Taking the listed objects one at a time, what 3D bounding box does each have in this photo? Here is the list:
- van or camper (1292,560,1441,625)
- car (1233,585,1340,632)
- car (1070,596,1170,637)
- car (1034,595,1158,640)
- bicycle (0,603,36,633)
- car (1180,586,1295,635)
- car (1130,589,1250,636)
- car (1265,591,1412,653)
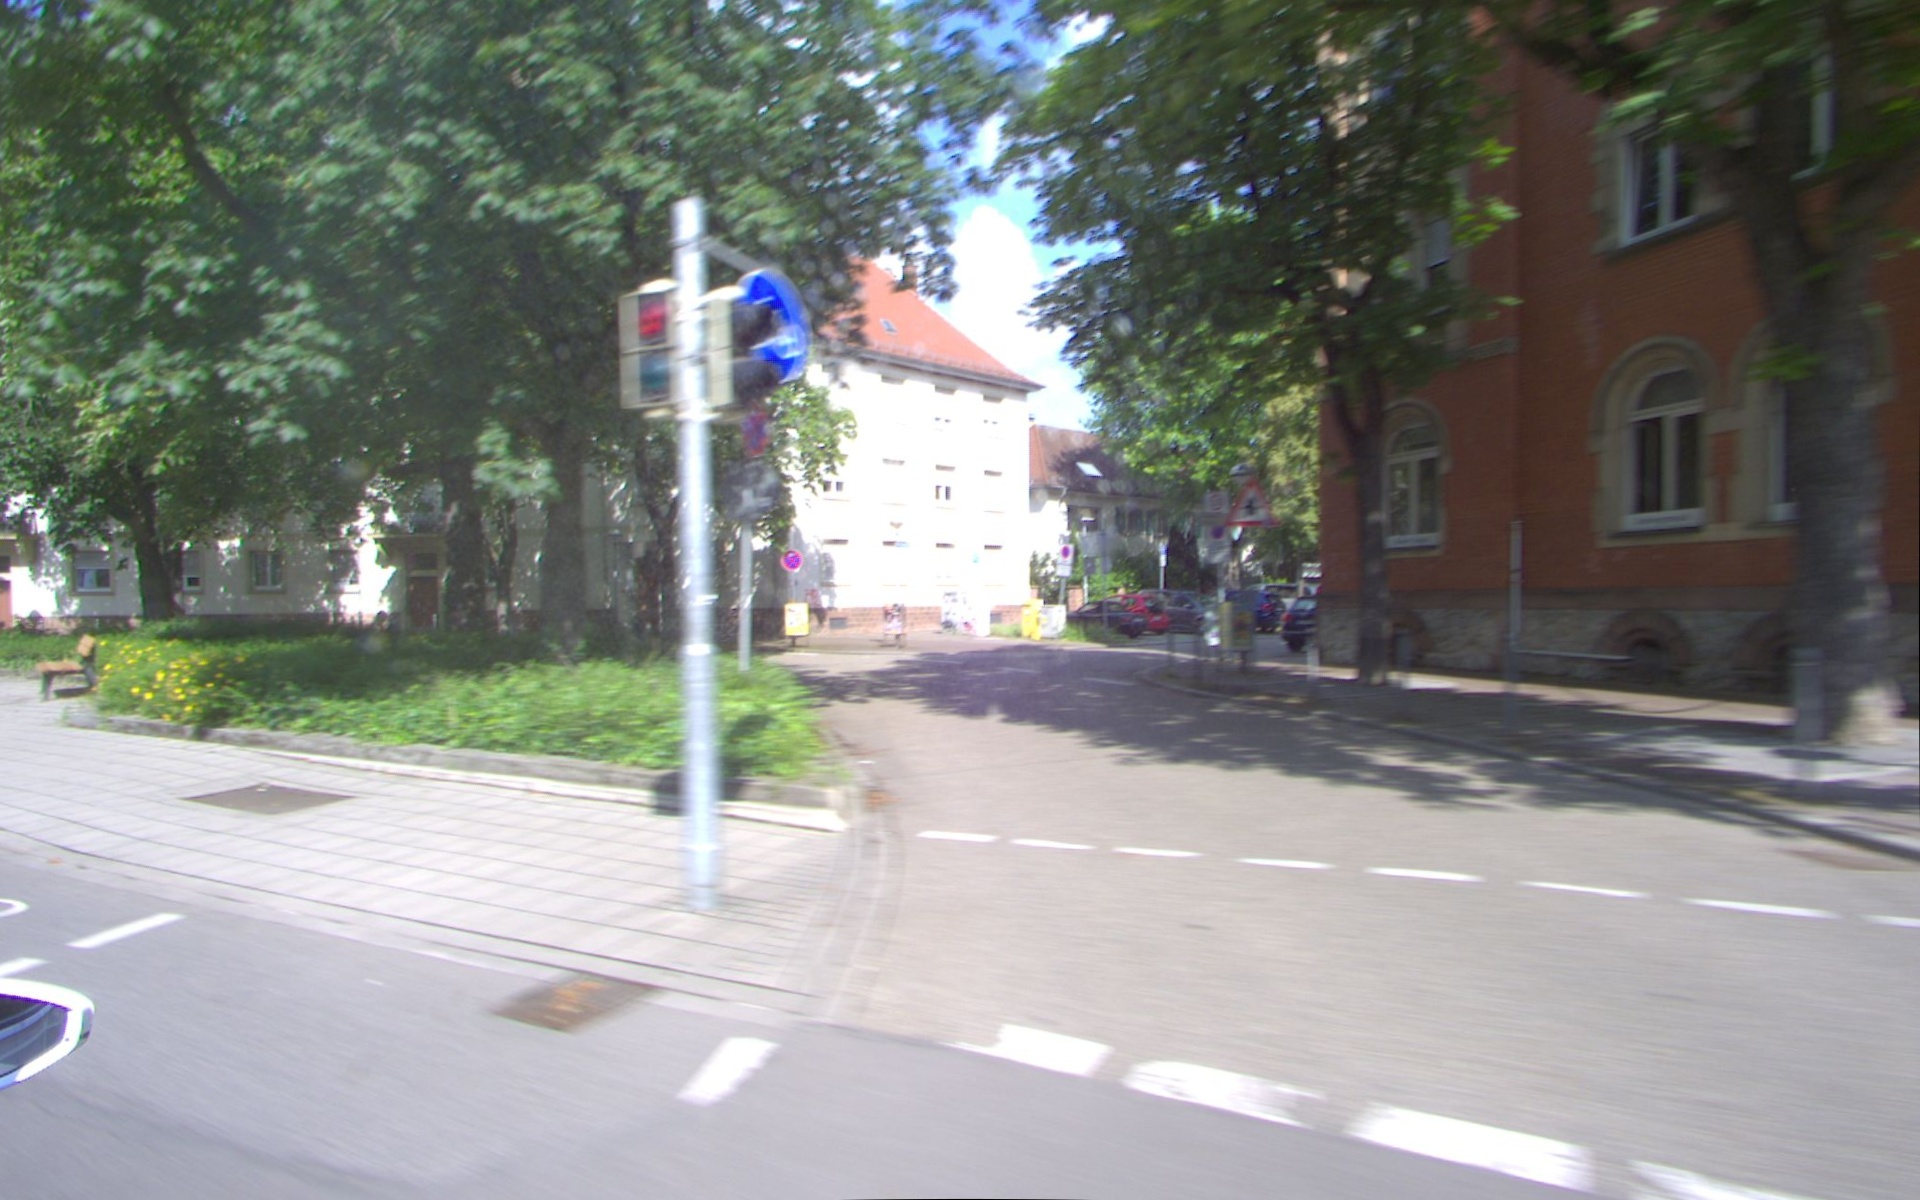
[{"bbox_3d":[20.429,-0.341,50.671,2.101,3.079,6.768,-1,0,-43],"label":"van or camper"},{"bbox_3d":[13.891,0.358,42.720,1.829,1.884,3.961,-1,0,-44],"label":"car"},{"bbox_3d":[5.821,0.578,36.707,3.379,1.441,1.548,0,0,45],"label":"car"},{"bbox_3d":[4.625,0.570,34.396,1.785,1.461,3.959,-1,0,-45],"label":"car"},{"bbox_3d":[-33.518,0.633,35.011,1.721,1.034,0.566,-1,3,-11],"label":"bicycle"},{"bbox_3d":[10.869,0.409,39.377,1.958,1.818,3.962,-1,0,-43],"label":"car"},{"bbox_3d":[8.628,0.456,37.769,1.834,1.706,4.085,-1,0,-45],"label":"car"},{"bbox_3d":[9.994,0.537,26.326,3.953,1.505,1.921,-1,0,-39],"label":"car"}]
